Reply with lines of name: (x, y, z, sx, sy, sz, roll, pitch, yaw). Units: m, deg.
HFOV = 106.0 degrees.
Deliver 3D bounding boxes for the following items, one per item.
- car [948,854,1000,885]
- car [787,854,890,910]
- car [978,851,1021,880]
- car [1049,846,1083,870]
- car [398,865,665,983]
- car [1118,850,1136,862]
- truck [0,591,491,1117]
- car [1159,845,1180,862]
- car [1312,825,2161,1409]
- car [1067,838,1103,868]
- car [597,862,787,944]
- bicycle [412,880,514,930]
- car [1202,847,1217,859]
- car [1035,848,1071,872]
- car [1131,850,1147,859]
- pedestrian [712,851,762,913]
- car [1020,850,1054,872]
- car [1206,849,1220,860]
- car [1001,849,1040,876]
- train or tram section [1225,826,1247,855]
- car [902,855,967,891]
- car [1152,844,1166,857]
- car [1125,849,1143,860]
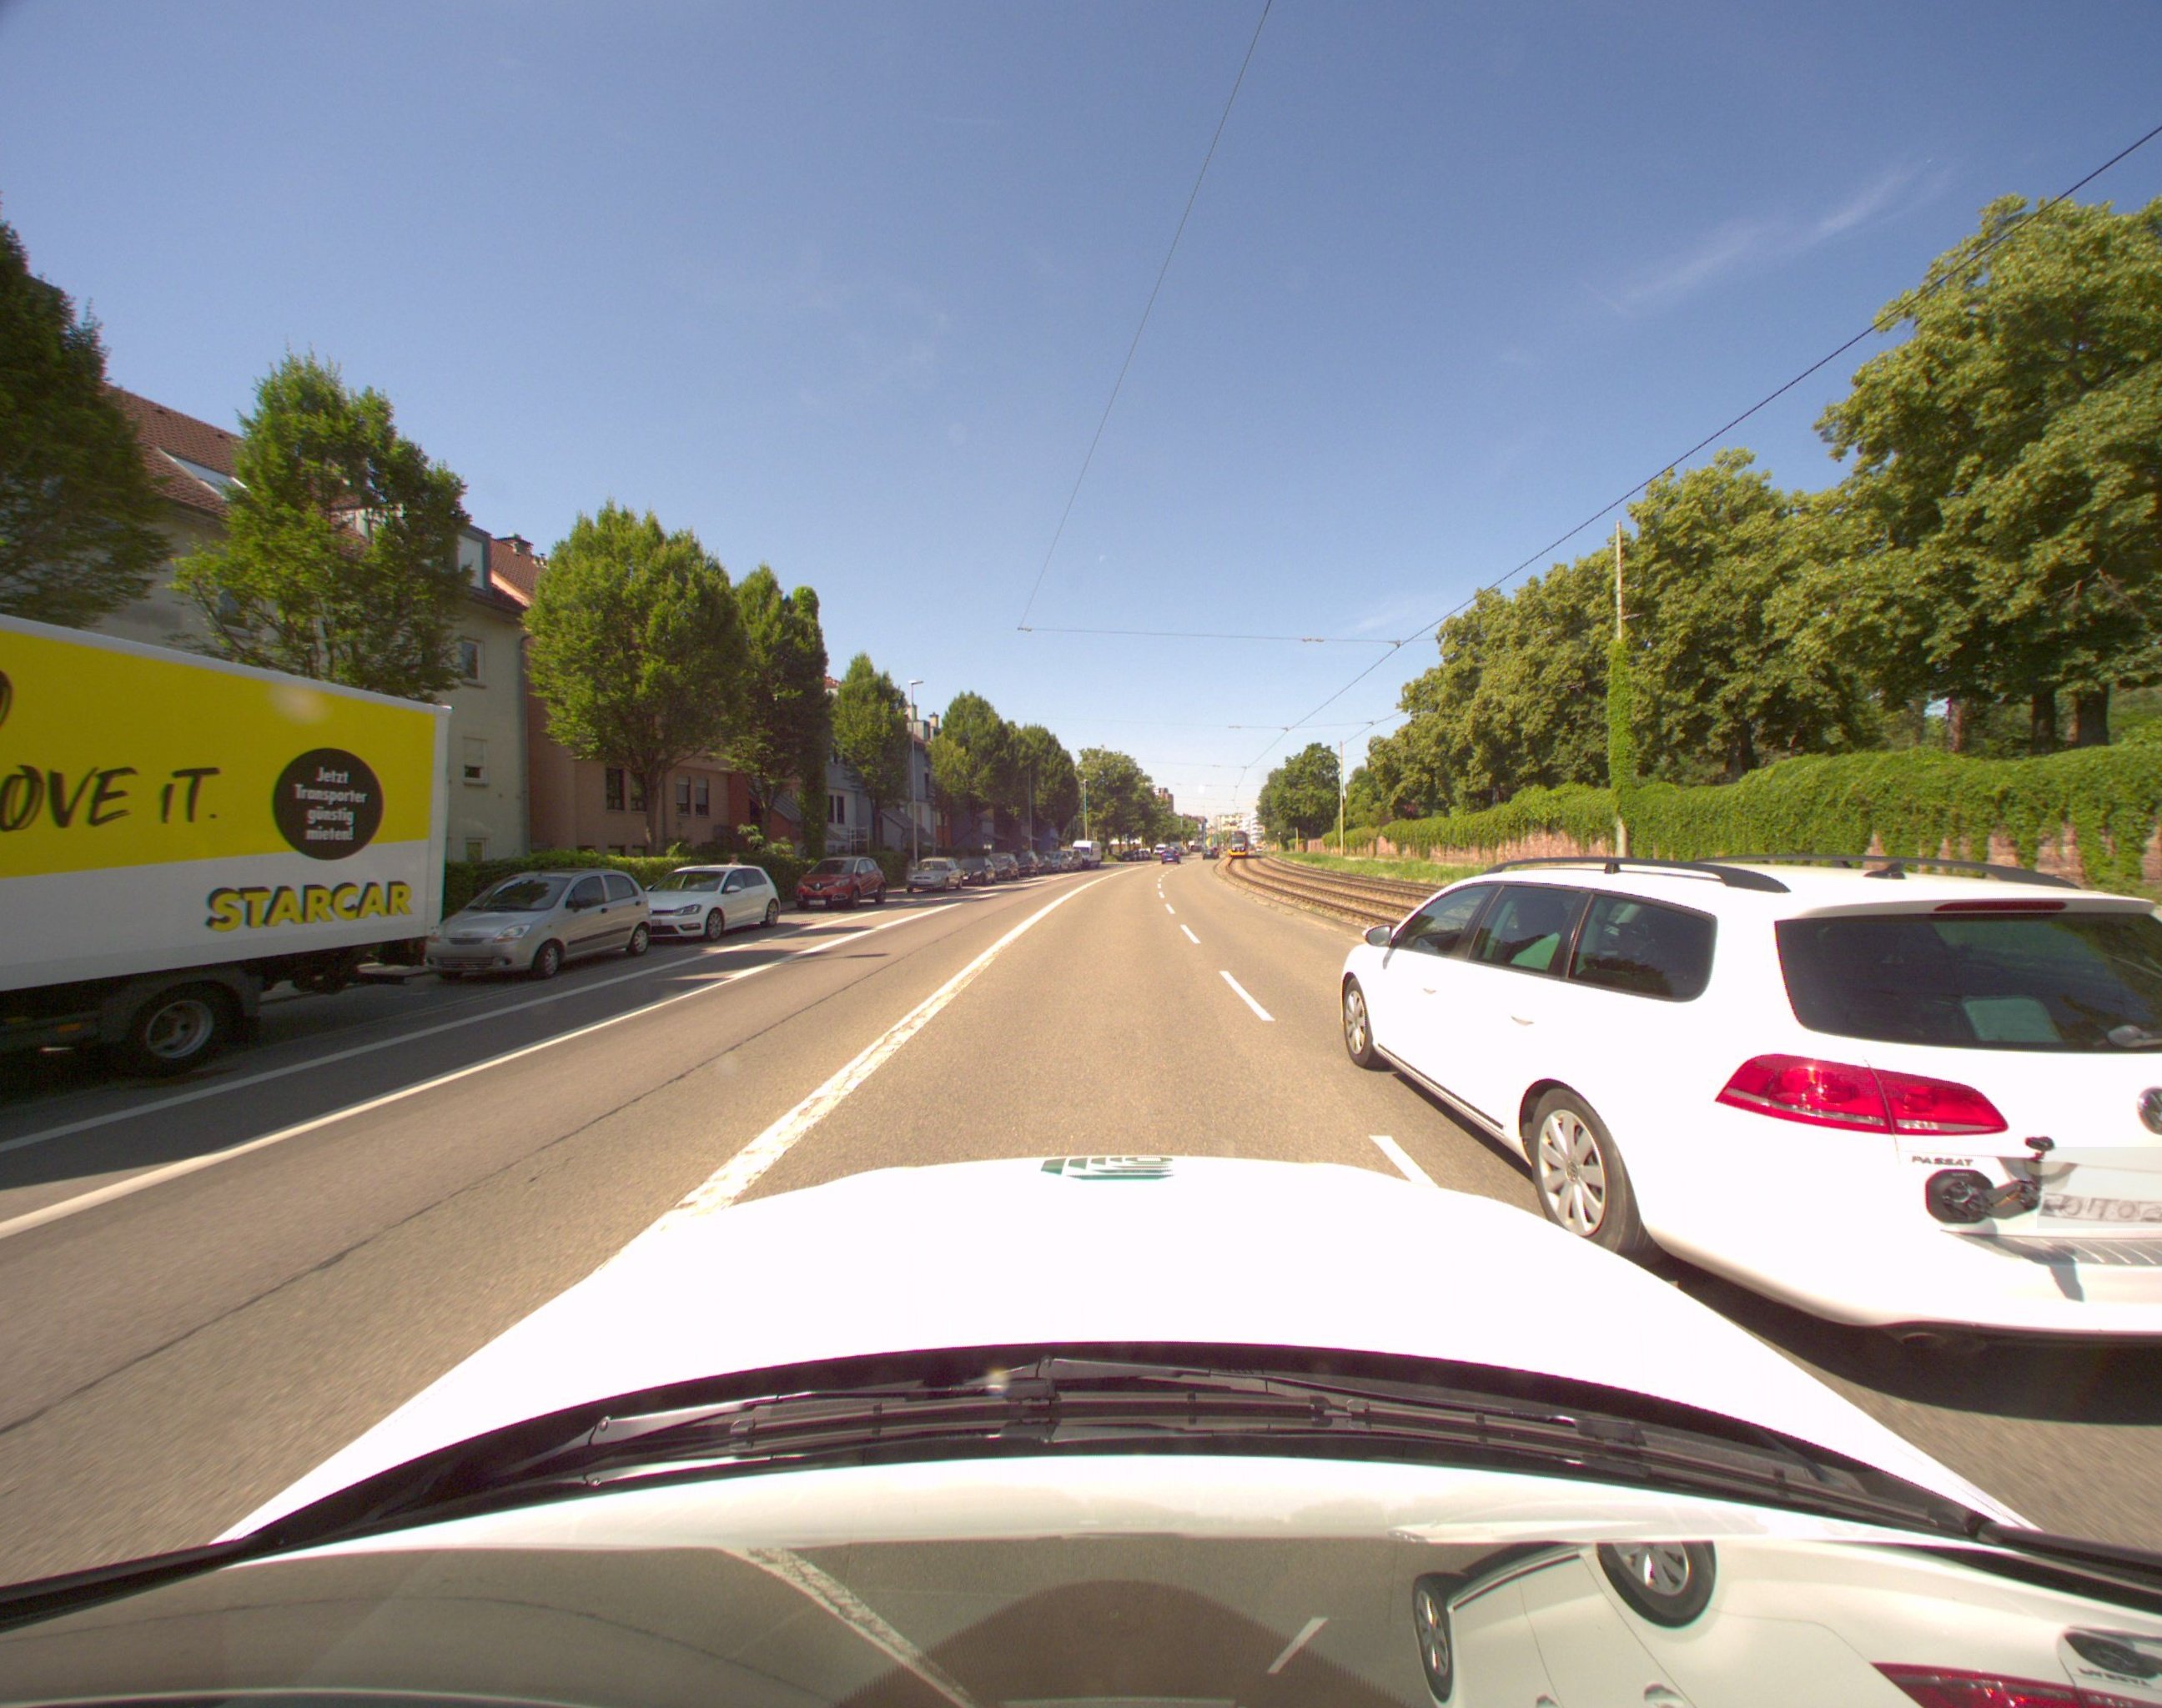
car: (-5.600, 0.769, 43.059, 1.714, 1.474, 4.722, 0, 0, 5)
car: (-7.491, 0.813, 25.628, 1.723, 1.551, 4.322, 0, 0, 3)
car: (-4.836, 0.633, 48.965, 1.708, 1.625, 4.321, 0, 0, 7)
car: (-1.260, 0.324, 70.571, 1.907, 1.948, 5.370, 1, 1, 10)
car: (-8.205, 0.951, 12.599, 1.604, 1.483, 3.636, 0, 0, 1)
car: (6.175, 0.242, 108.691, 1.687, 1.417, 4.015, -2, 0, 14)
truck: (-8.584, -0.003, 5.481, 2.656, 3.530, 8.597, 0, 1, 3)
car: (8.723, -0.054, 80.355, 1.789, 1.507, 4.012, 0, 1, 10)
car: (2.661, 0.639, 4.282, 1.685, 1.451, 4.460, -1, 0, 1)
car: (0.438, -0.091, 78.824, 1.981, 2.714, 7.180, 1, 0, 12)
car: (-7.922, 0.920, 17.082, 1.750, 1.429, 4.285, 0, 0, 3)
bicycle: (-13.590, 1.117, 17.909, 2.000, 1.011, 0.551, -2, 0, 10)
car: (16.616, -0.148, 105.076, 1.789, 1.507, 4.012, 0, 1, 10)
car: (-2.192, 0.441, 64.981, 1.789, 1.724, 4.925, 1, 1, 11)
car: (8.626, 0.045, 121.394, 1.687, 1.352, 4.015, -2, 0, 14)
pedestrian: (-9.725, 0.766, 23.056, 0.871, 1.690, 1.056, -2, 0, 2)
car: (-3.207, 0.490, 59.899, 1.681, 1.474, 4.058, 1, 1, 8)
car: (19.221, 0.071, 118.481, 1.789, 1.460, 4.011, -2, 0, 10)
car: (-4.002, 0.520, 54.460, 1.760, 1.723, 4.878, 0, 0, 6)
train or tram section: (21.333, -1.795, 111.496, 2.494, 3.747, 13.355, -2, 0, 12)
car: (-6.487, 0.800, 36.594, 1.773, 1.483, 4.862, 0, 0, 4)
car: (14.946, -0.712, 155.160, 1.866, 2.415, 5.136, -2, 0, 14)
car: (7.572, 0.128, 116.063, 1.687, 1.482, 4.015, -2, 0, 14)
